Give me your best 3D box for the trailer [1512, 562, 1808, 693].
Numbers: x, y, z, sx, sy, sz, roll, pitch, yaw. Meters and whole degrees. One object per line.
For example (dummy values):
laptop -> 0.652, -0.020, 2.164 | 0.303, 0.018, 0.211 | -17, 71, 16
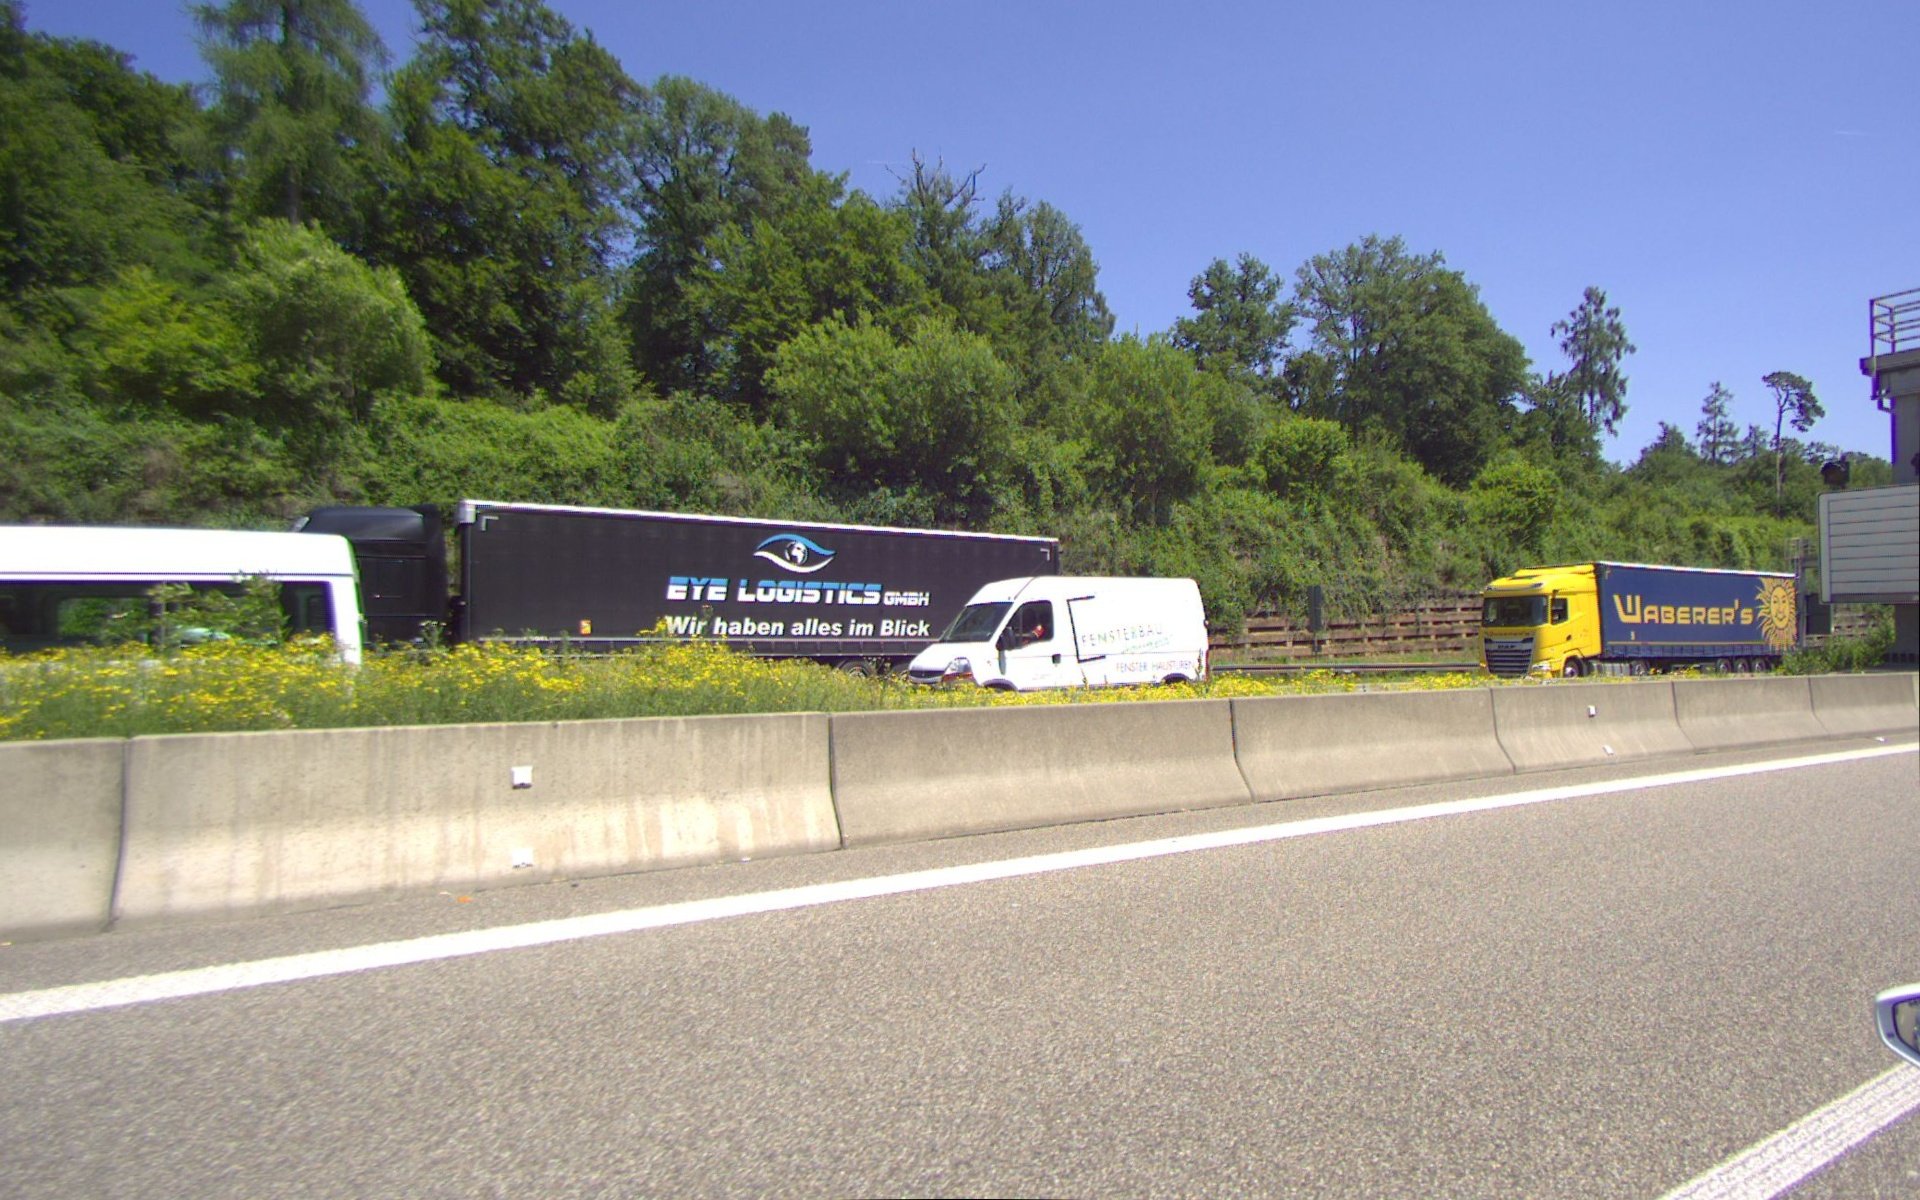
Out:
trailer -> 26.401, 1.091, 37.424 | 14.287, 4.262, 2.966 | 1, -3, -29

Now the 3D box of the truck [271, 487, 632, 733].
truck -> -9.666, 0.282, 19.500 | 5.799, 4.112, 2.921 | 1, -3, -30

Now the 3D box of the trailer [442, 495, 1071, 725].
trailer -> -3.943, 0.382, 22.877 | 13.830, 4.154, 2.965 | 1, -3, -30

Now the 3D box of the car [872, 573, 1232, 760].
car -> 1.606, 1.041, 17.171 | 5.617, 2.709, 2.741 | 1, -2, -31

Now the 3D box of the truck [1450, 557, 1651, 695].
truck -> 19.917, 0.933, 33.843 | 6.378, 4.257, 2.939 | 1, -3, -29

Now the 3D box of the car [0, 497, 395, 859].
car -> -7.536, 0.613, 8.483 | 4.789, 2.709, 1.989 | 1, -2, -31
